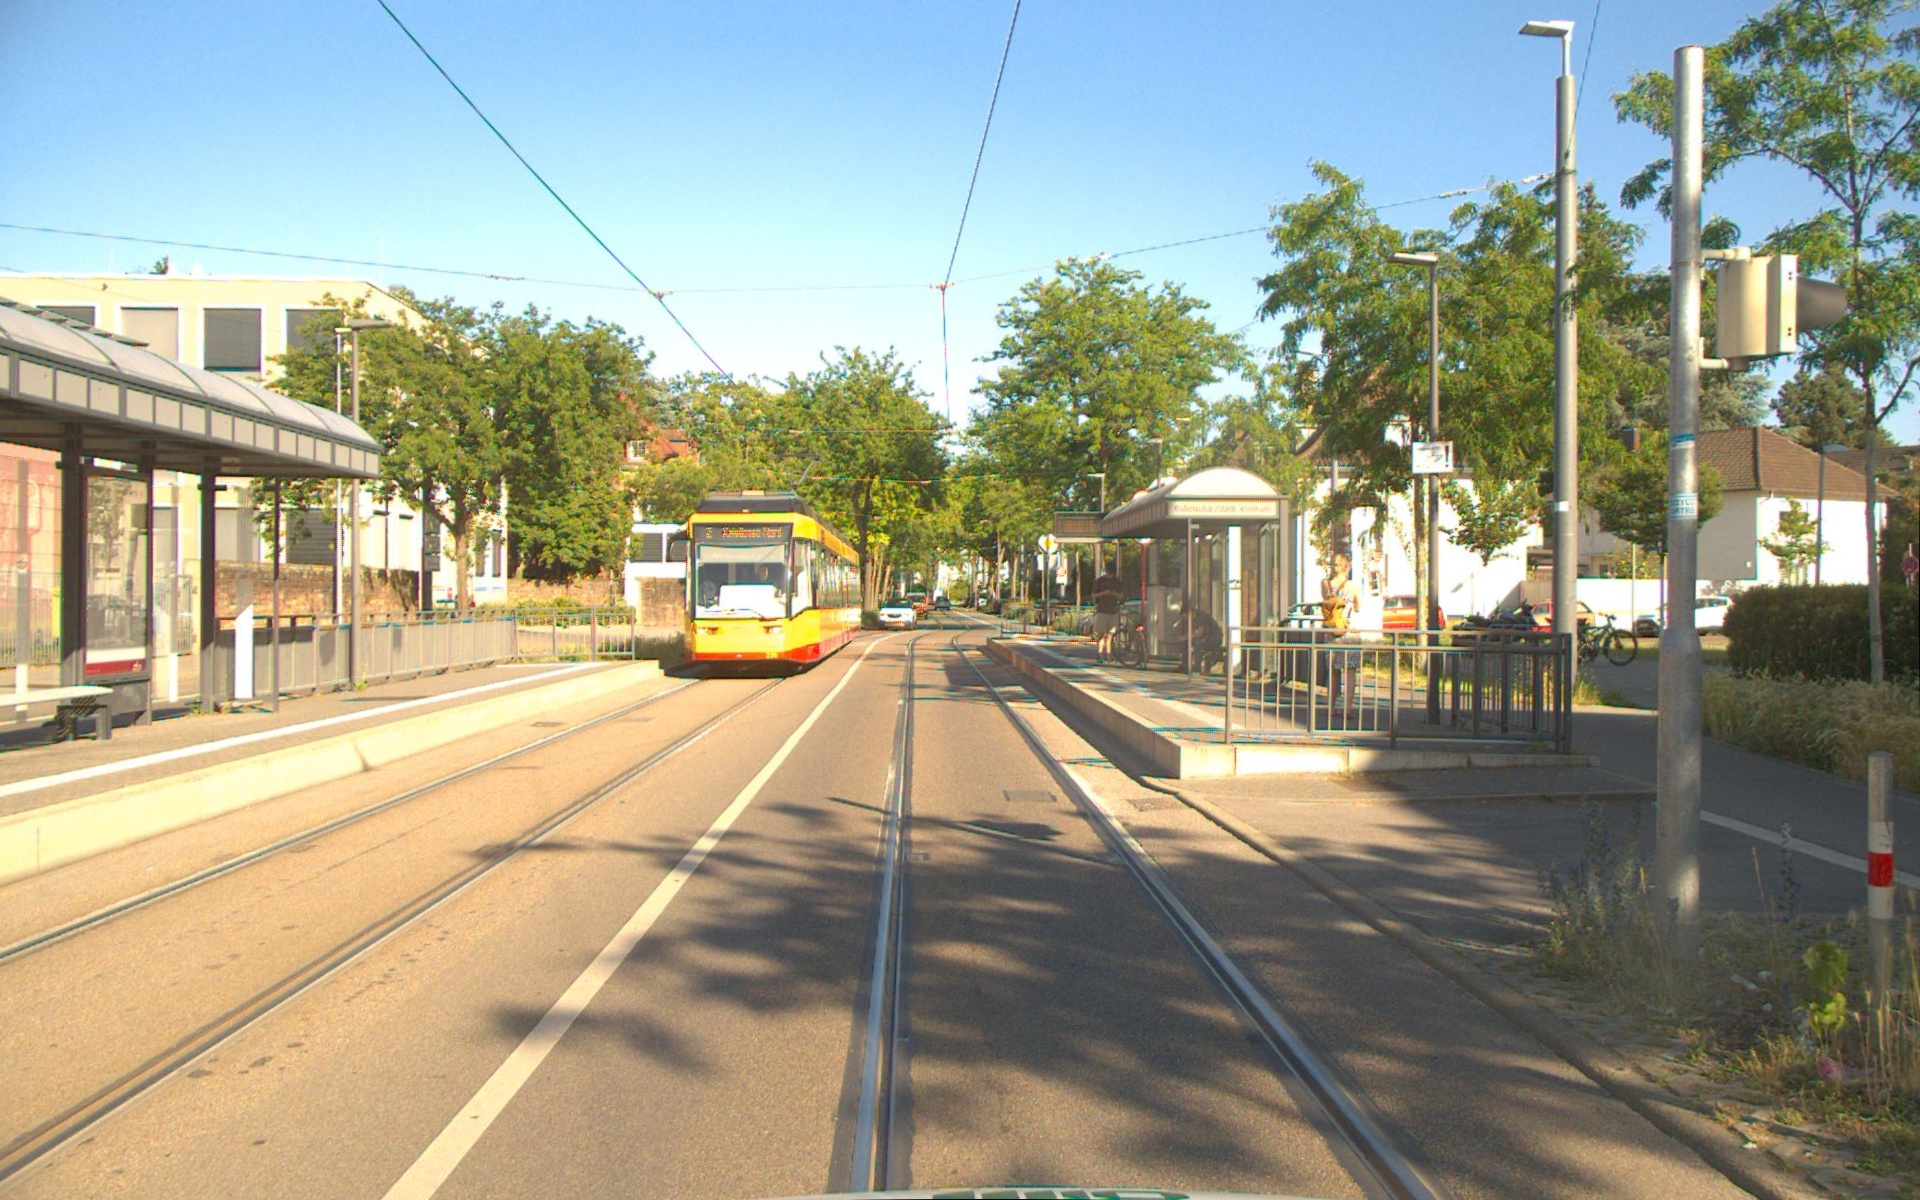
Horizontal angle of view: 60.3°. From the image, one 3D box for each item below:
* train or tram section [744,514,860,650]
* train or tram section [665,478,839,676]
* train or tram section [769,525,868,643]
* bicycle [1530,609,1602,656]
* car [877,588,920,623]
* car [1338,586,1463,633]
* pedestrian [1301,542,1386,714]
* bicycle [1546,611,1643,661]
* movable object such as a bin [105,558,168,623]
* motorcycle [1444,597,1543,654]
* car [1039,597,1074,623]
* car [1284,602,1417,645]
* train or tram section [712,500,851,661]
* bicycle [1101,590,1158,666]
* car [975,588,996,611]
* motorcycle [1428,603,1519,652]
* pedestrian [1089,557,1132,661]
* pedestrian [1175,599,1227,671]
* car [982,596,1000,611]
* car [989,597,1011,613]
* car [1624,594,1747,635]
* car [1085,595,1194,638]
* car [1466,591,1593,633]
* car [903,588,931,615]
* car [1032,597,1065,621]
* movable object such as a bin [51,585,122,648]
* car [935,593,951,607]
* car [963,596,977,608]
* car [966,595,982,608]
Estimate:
[{"bbox_3d":[-4.293,-0.472,46.293,2.747,3.520,6.666,0,0,-1],"label":"train or tram section"},{"bbox_3d":[-3.966,-0.416,32.910,2.747,3.520,6.666,0,0,-1],"label":"train or tram section"},{"bbox_3d":[-4.433,-0.501,52.971,2.747,3.520,6.666,0,0,-1],"label":"train or tram section"},{"bbox_3d":[12.995,0.696,35.470,1.442,0.996,0.415,0,0,-8],"label":"bicycle"},{"bbox_3d":[-3.034,0.267,82.118,1.727,1.693,4.212,0,0,4],"label":"car"},{"bbox_3d":[16.314,0.348,61.326,4.080,1.671,1.981,0,0,-3],"label":"car"},{"bbox_3d":[3.969,0.281,17.156,0.658,1.734,0.690,1,0,-3],"label":"pedestrian"},{"bbox_3d":[13.032,0.742,33.993,1.862,0.996,0.490,0,0,-8],"label":"bicycle"},{"bbox_3d":[-19.220,-0.223,38.619,0.863,1.472,1.308,0,0,-3],"label":"movable object such as a bin"},{"bbox_3d":[12.544,0.590,38.918,2.038,1.296,0.860,0,0,-8],"label":"motorcycle"},{"bbox_3d":[5.806,0.592,99.614,1.713,1.521,4.442,-1,0,-2],"label":"car"},{"bbox_3d":[13.864,0.855,58.951,4.505,1.492,1.983,0,-2,9],"label":"car"},{"bbox_3d":[-4.130,-0.444,39.603,2.747,3.520,6.666,0,0,-1],"label":"train or tram section"},{"bbox_3d":[2.907,0.468,28.504,0.607,1.251,1.964,1,0,-5],"label":"bicycle"},{"bbox_3d":[2.968,-0.044,195.675,2.200,2.700,5.583,0,0,-2],"label":"car"},{"bbox_3d":[12.567,0.670,40.508,1.961,1.178,0.860,0,0,-8],"label":"motorcycle"},{"bbox_3d":[2.794,0.167,30.831,0.696,1.886,0.729,1,0,0],"label":"pedestrian"},{"bbox_3d":[3.957,0.569,27.202,0.723,1.137,0.658,1,0,-2],"label":"pedestrian"},{"bbox_3d":[3.256,0.349,174.262,1.594,1.422,3.644,-3,0,-2],"label":"car"},{"bbox_3d":[3.981,0.464,164.826,1.749,1.473,4.298,-3,0,-3],"label":"car"},{"bbox_3d":[27.735,0.562,63.281,4.099,1.534,1.971,0,0,-19],"label":"car"},{"bbox_3d":[6.597,0.591,60.631,3.902,1.534,1.984,0,0,8],"label":"car"},{"bbox_3d":[21.348,0.441,62.069,4.084,1.534,1.978,0,0,-8],"label":"car"},{"bbox_3d":[-3.335,0.117,127.693,1.954,2.000,4.930,0,0,-4],"label":"car"},{"bbox_3d":[5.652,0.558,105.918,1.713,1.521,3.995,-1,0,-2],"label":"car"},{"bbox_3d":[-18.615,0.349,35.288,0.863,1.307,1.308,0,0,-3],"label":"movable object such as a bin"},{"bbox_3d":[-2.005,0.001,199.062,1.827,1.704,4.173,-1,0,1],"label":"car"},{"bbox_3d":[1.507,0.262,245.347,1.961,1.704,4.393,-2,0,2],"label":"car"},{"bbox_3d":[1.926,0.269,227.864,1.962,1.704,4.390,-2,0,-2],"label":"car"}]
